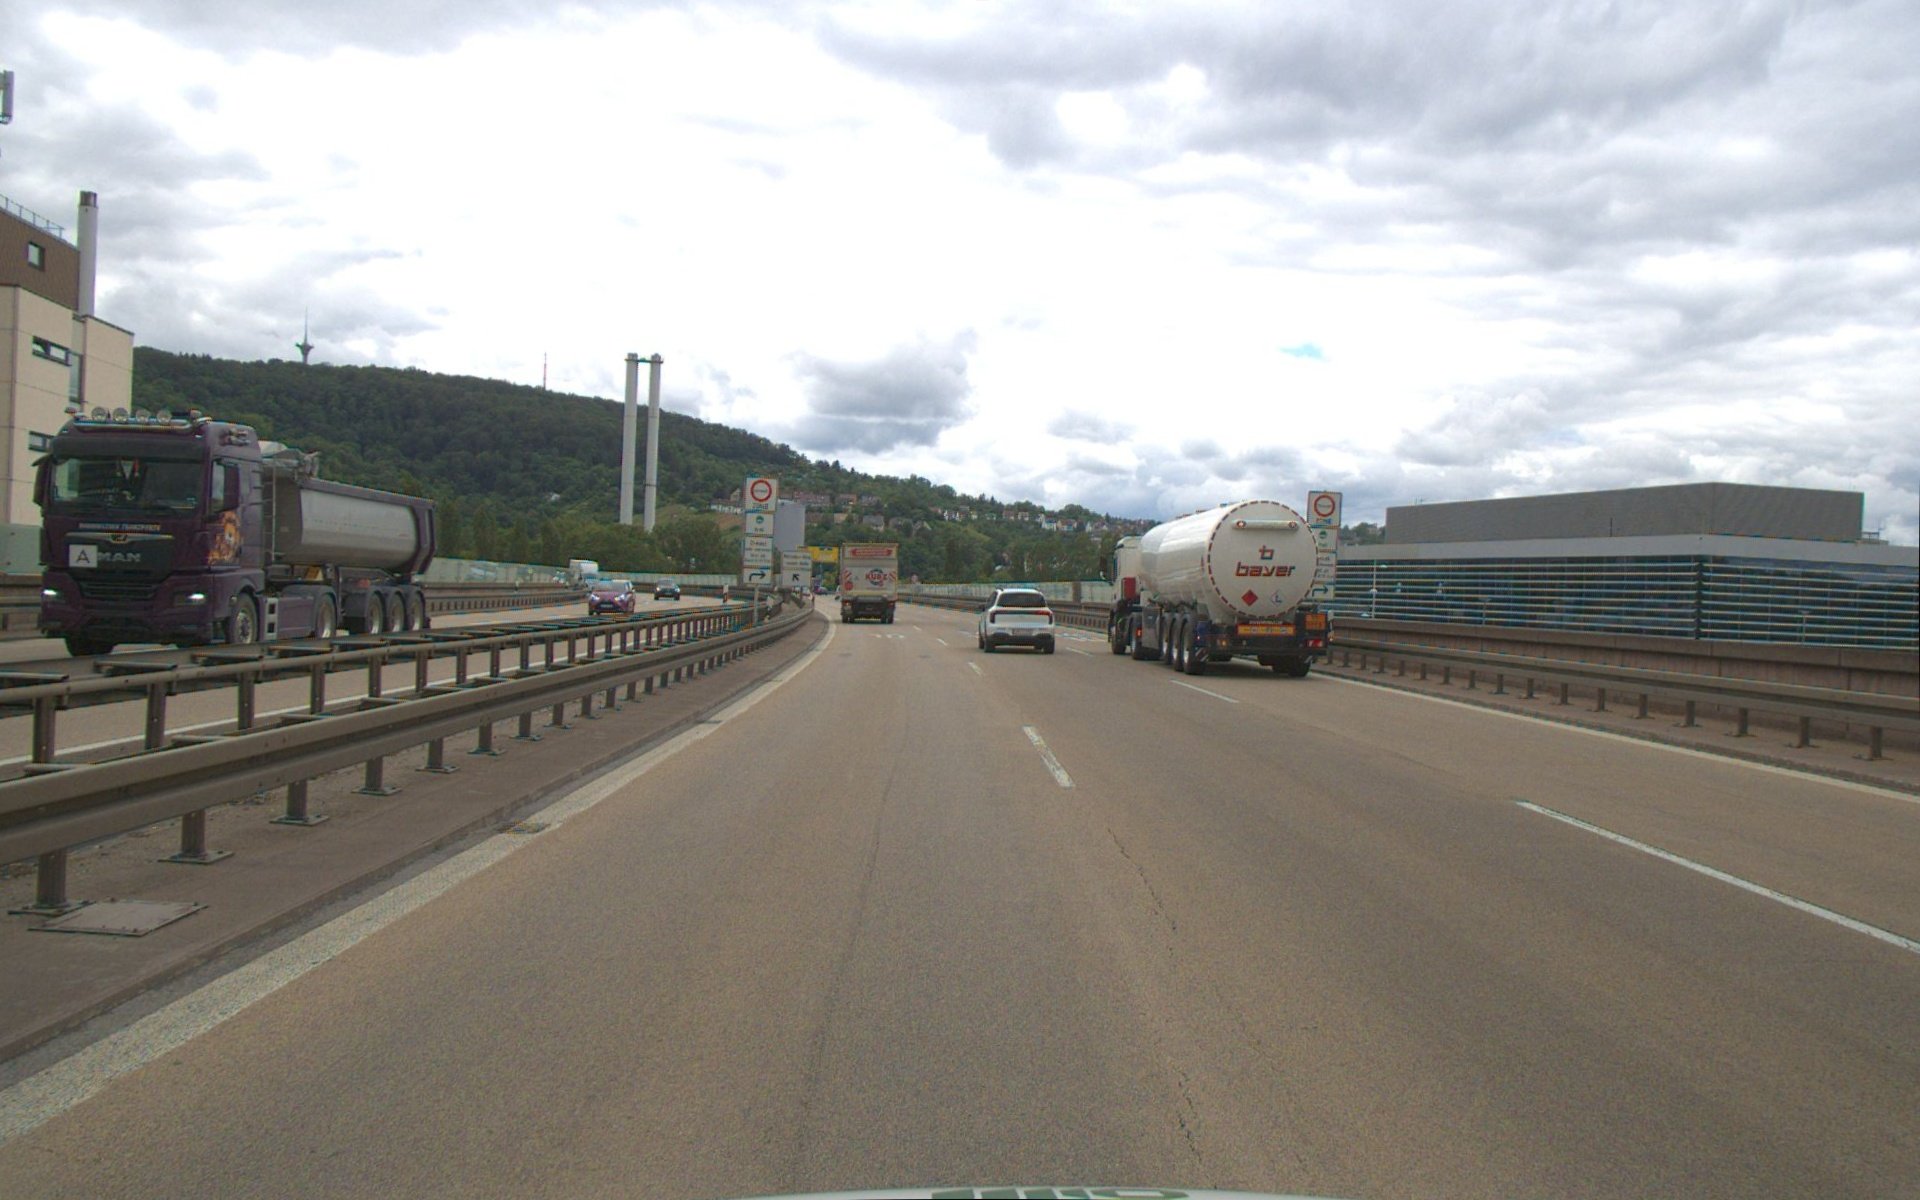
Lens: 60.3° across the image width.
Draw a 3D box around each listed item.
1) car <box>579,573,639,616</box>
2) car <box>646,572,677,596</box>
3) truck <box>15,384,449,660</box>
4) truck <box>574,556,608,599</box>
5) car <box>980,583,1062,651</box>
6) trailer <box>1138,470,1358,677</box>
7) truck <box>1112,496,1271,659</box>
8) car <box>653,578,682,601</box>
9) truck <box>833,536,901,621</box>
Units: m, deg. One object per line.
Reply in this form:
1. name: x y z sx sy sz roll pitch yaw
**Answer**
1. car: -14.673 -0.211 69.359 1.955 1.704 4.402 1 0 -6
2. car: -22.795 -1.185 126.254 1.955 1.704 4.402 1 0 -6
3. truck: -12.219 -1.084 29.566 2.754 3.876 12.014 1 0 -2
4. truck: -40.942 -2.433 183.758 3.000 4.642 8.287 1 0 -9
5. car: 1.603 0.443 44.754 1.953 1.704 4.407 1 0 -1
6. trailer: 5.899 -0.490 35.426 2.995 3.856 8.300 1 0 -2
7. truck: 5.678 -0.503 41.619 2.953 3.721 6.271 1 0 -2
8. car: -22.762 -0.804 128.912 1.955 1.704 4.402 0 0 -7
9. truck: -4.365 -0.943 78.025 2.996 3.755 8.298 1 0 -3
